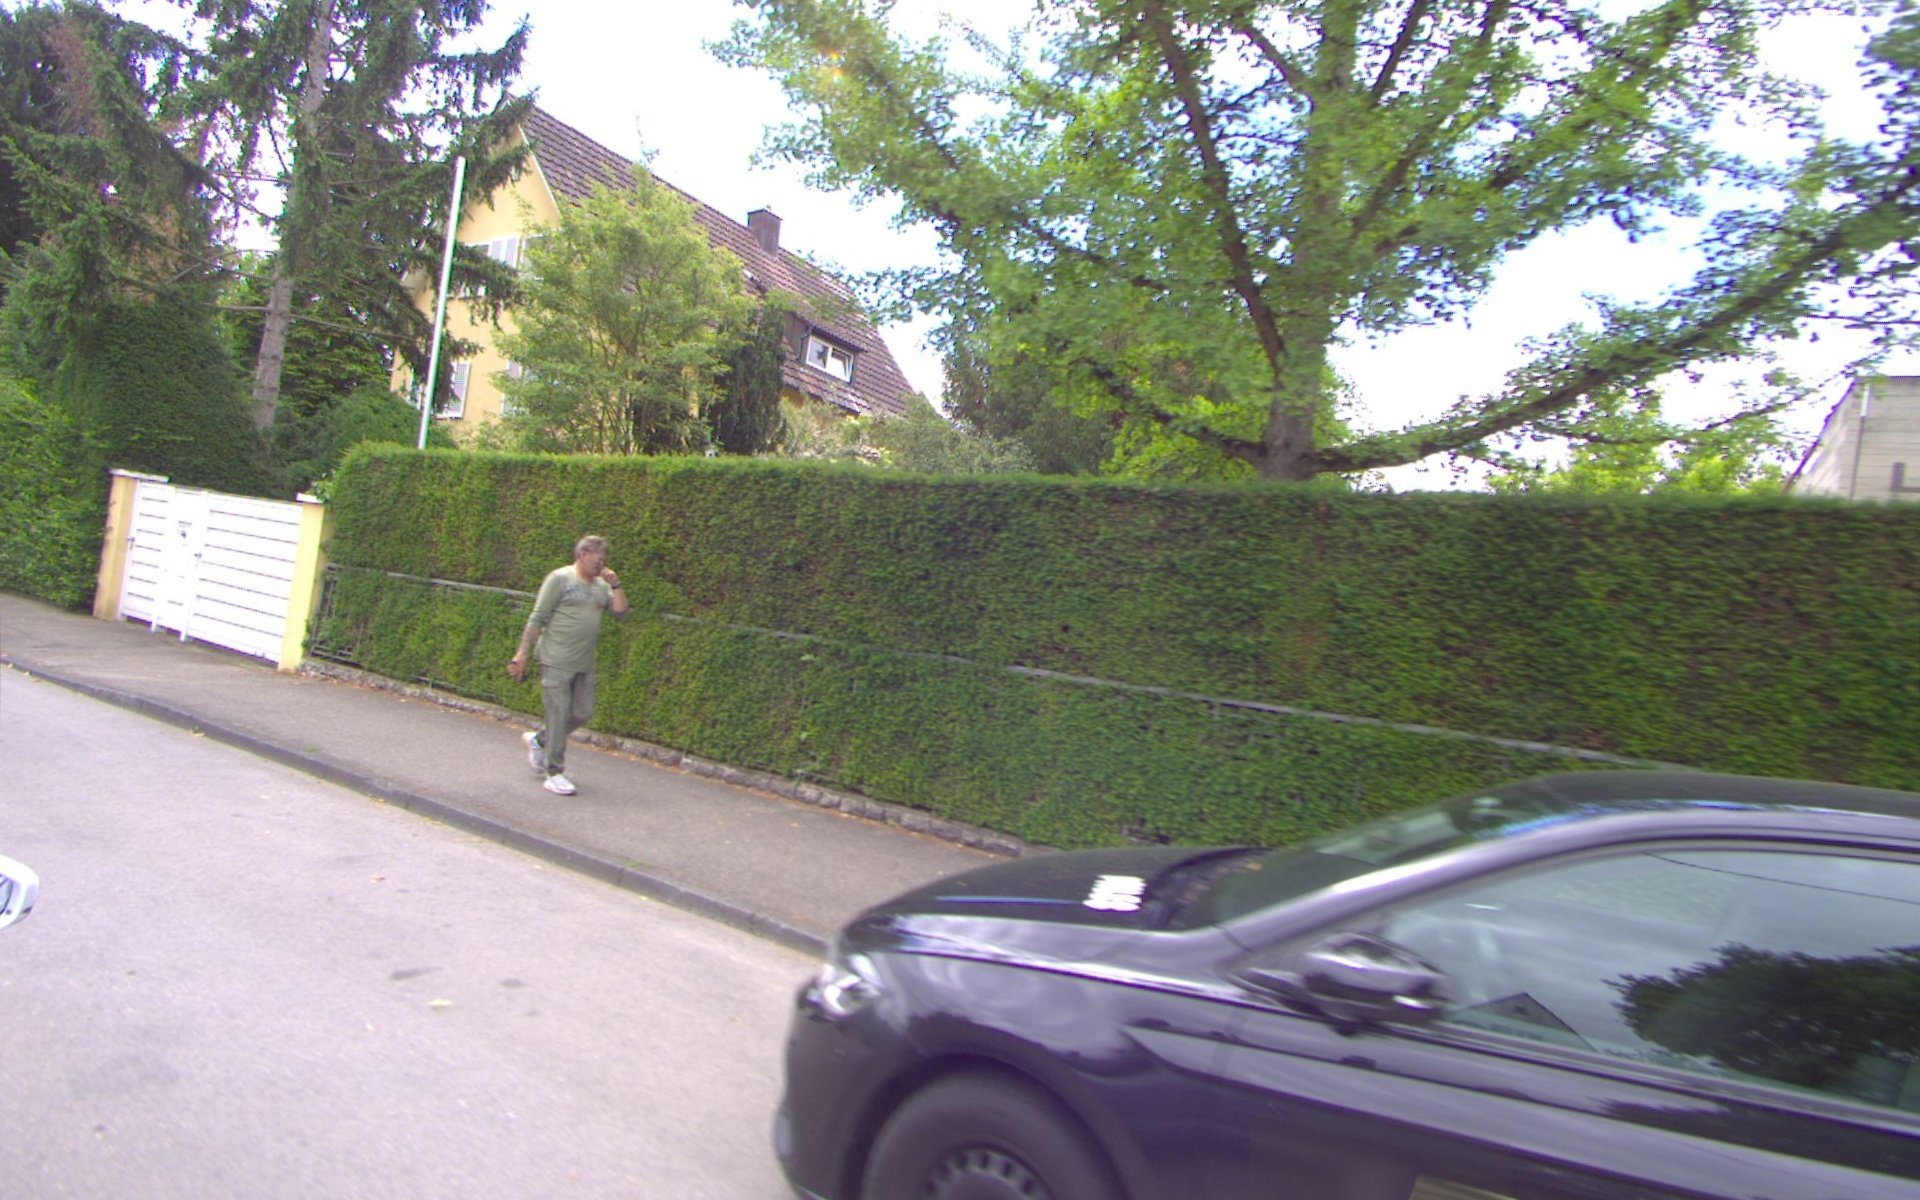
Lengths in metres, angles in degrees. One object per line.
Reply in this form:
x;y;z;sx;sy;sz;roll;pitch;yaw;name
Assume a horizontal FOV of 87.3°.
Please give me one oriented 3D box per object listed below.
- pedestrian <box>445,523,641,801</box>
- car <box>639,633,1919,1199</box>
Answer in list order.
-2.850;0.401;6.882;0.902;1.719;0.670;7;1;31;pedestrian
1.458;1.040;2.172;3.982;1.424;1.682;7;0;27;car
